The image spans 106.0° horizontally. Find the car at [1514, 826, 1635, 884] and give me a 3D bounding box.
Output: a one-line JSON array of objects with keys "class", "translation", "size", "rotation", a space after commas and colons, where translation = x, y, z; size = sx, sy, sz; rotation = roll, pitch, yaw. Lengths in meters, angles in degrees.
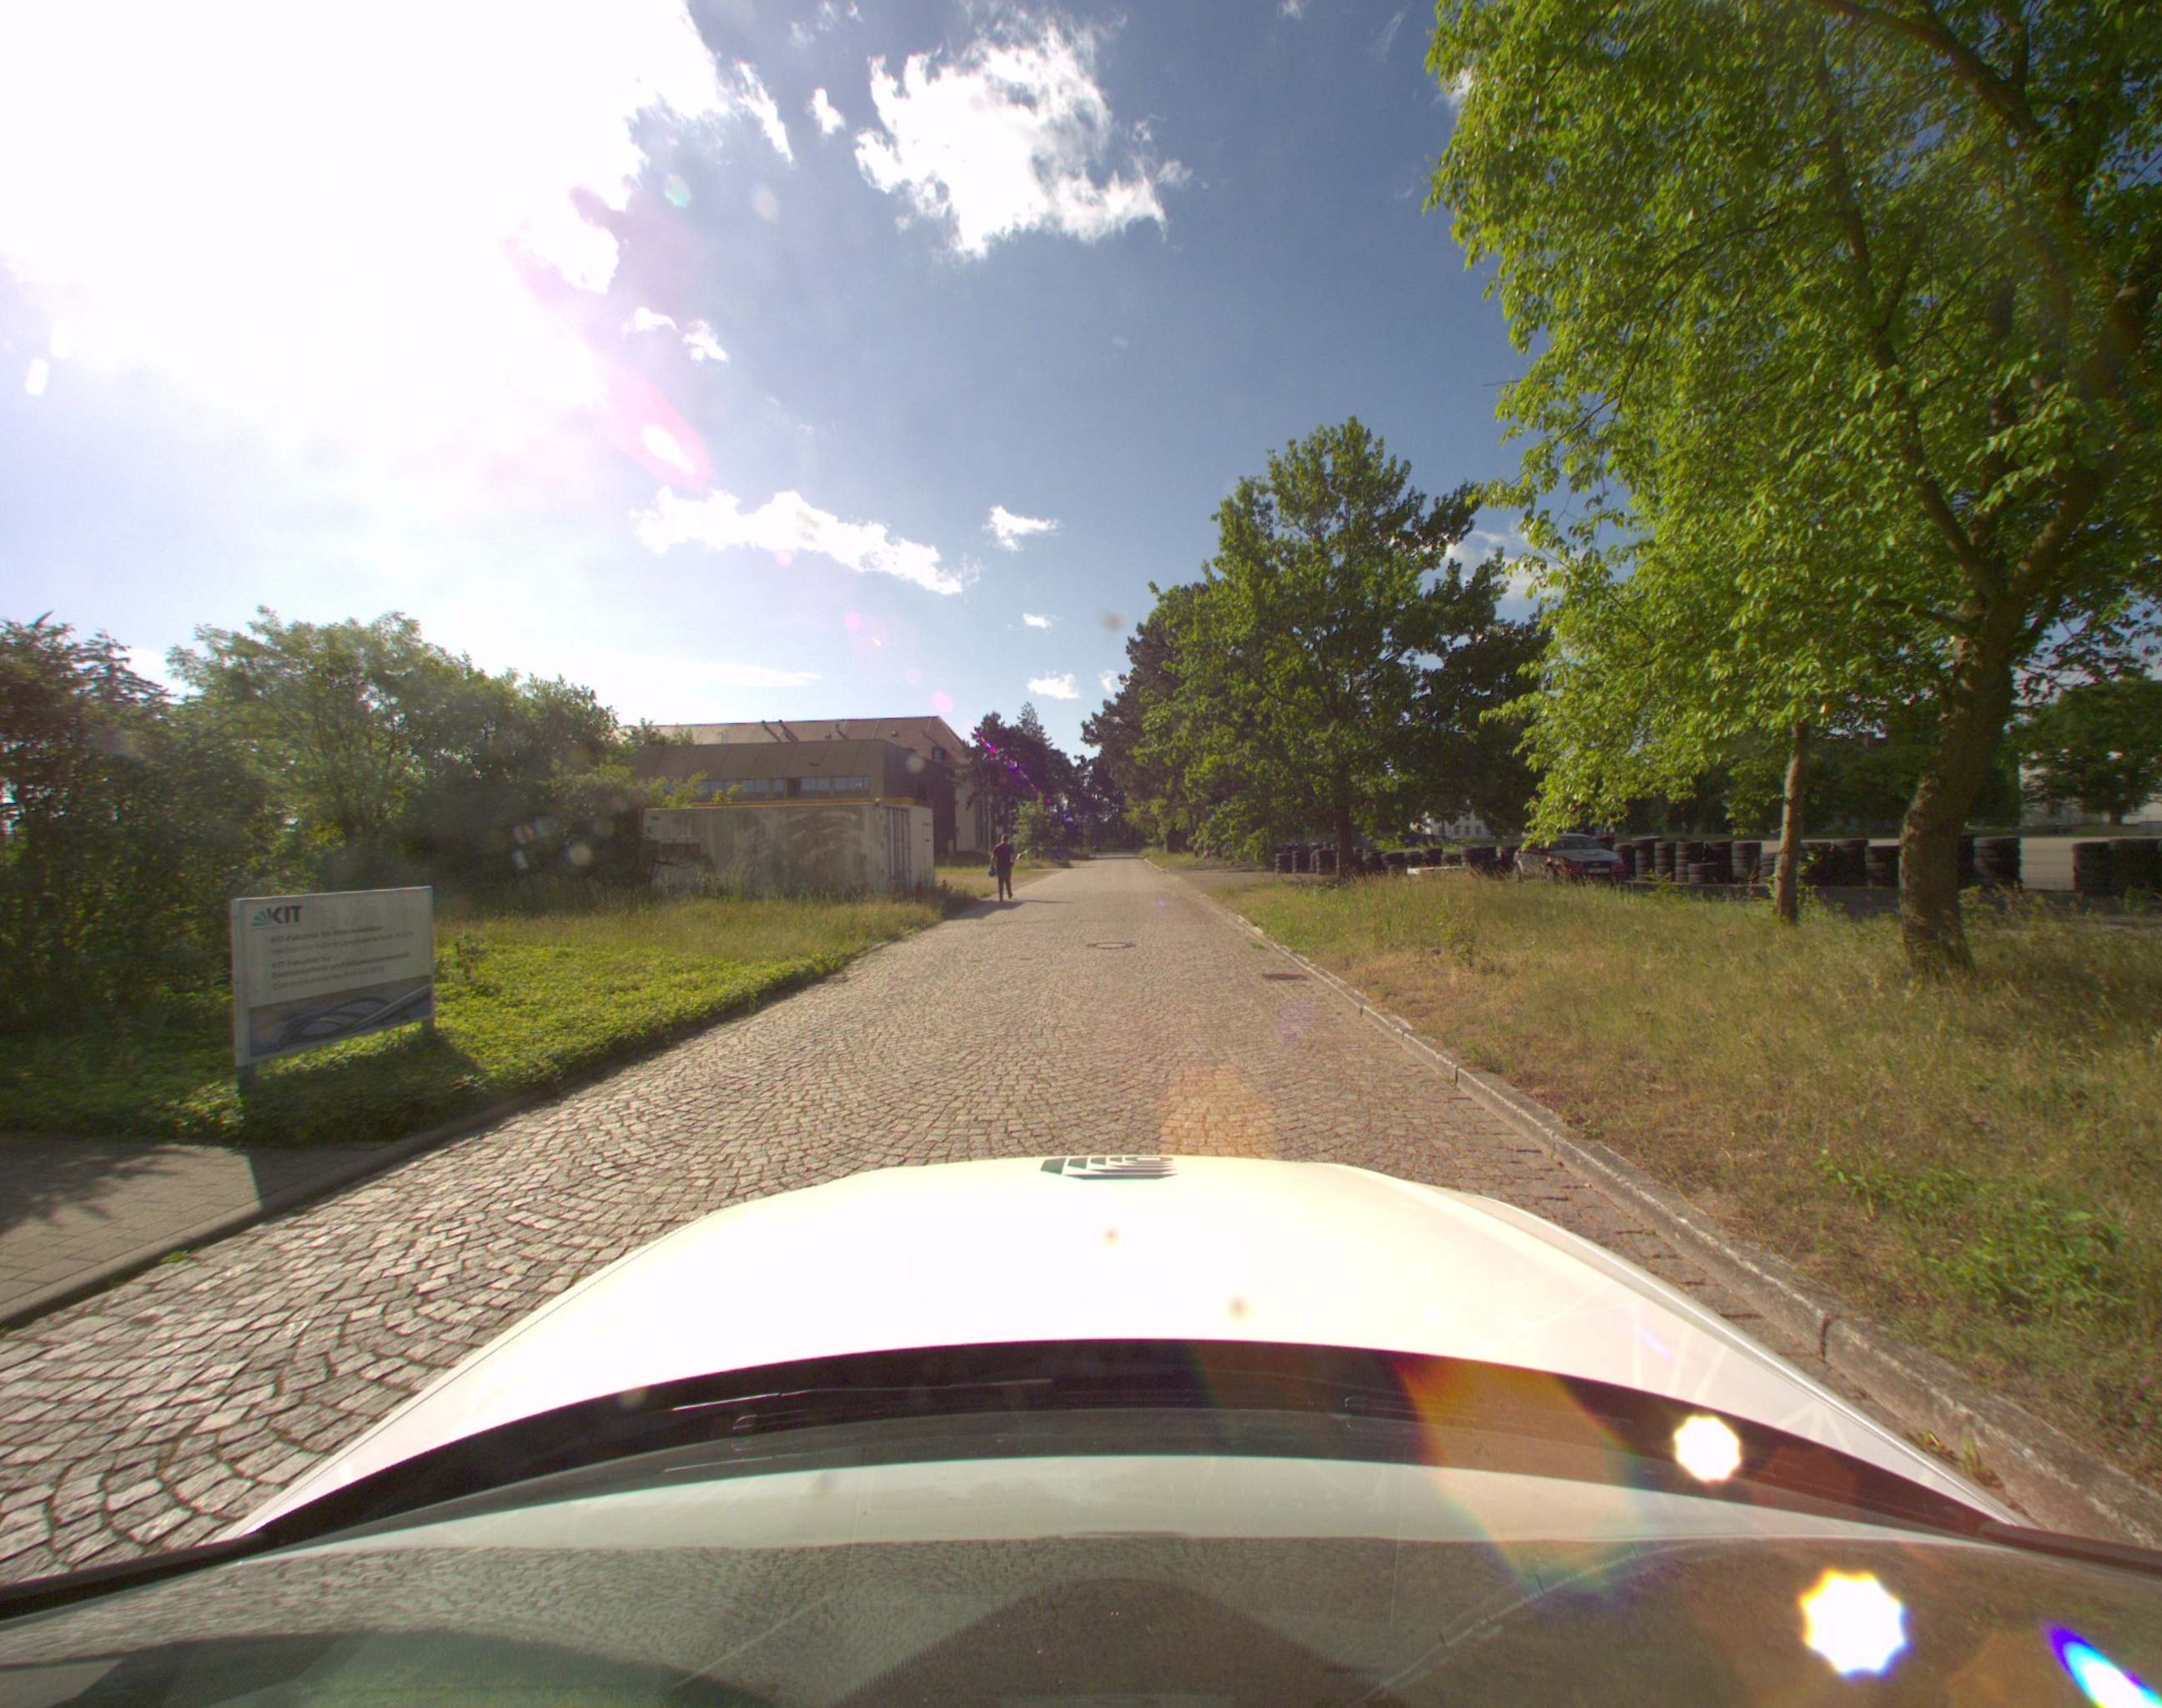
[{"class": "car", "translation": [13.231, -0.002, 22.078], "size": [1.532, 1.407, 3.586], "rotation": [-1, 1, 9]}]

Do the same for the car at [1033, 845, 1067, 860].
[{"class": "car", "translation": [-2.719, -0.152, 71.703], "size": [2.899, 1.259, 1.285], "rotation": [-2, 1, -6]}]

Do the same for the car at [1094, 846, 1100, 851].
[{"class": "car", "translation": [3.744, -1.311, 187.018], "size": [1.365, 1.099, 2.863], "rotation": [-2, 1, 0]}]

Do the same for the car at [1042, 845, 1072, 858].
[{"class": "car", "translation": [-2.405, -0.275, 81.126], "size": [2.850, 1.206, 1.371], "rotation": [-2, 1, -6]}]

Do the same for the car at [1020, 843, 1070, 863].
[{"class": "car", "translation": [-2.843, -0.118, 64.467], "size": [3.820, 1.441, 1.583], "rotation": [-2, 1, 0]}]

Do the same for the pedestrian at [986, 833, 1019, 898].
[{"class": "pedestrian", "translation": [-2.180, 0.316, 22.799], "size": [0.792, 1.780, 1.069], "rotation": [0, 0, 1]}]
